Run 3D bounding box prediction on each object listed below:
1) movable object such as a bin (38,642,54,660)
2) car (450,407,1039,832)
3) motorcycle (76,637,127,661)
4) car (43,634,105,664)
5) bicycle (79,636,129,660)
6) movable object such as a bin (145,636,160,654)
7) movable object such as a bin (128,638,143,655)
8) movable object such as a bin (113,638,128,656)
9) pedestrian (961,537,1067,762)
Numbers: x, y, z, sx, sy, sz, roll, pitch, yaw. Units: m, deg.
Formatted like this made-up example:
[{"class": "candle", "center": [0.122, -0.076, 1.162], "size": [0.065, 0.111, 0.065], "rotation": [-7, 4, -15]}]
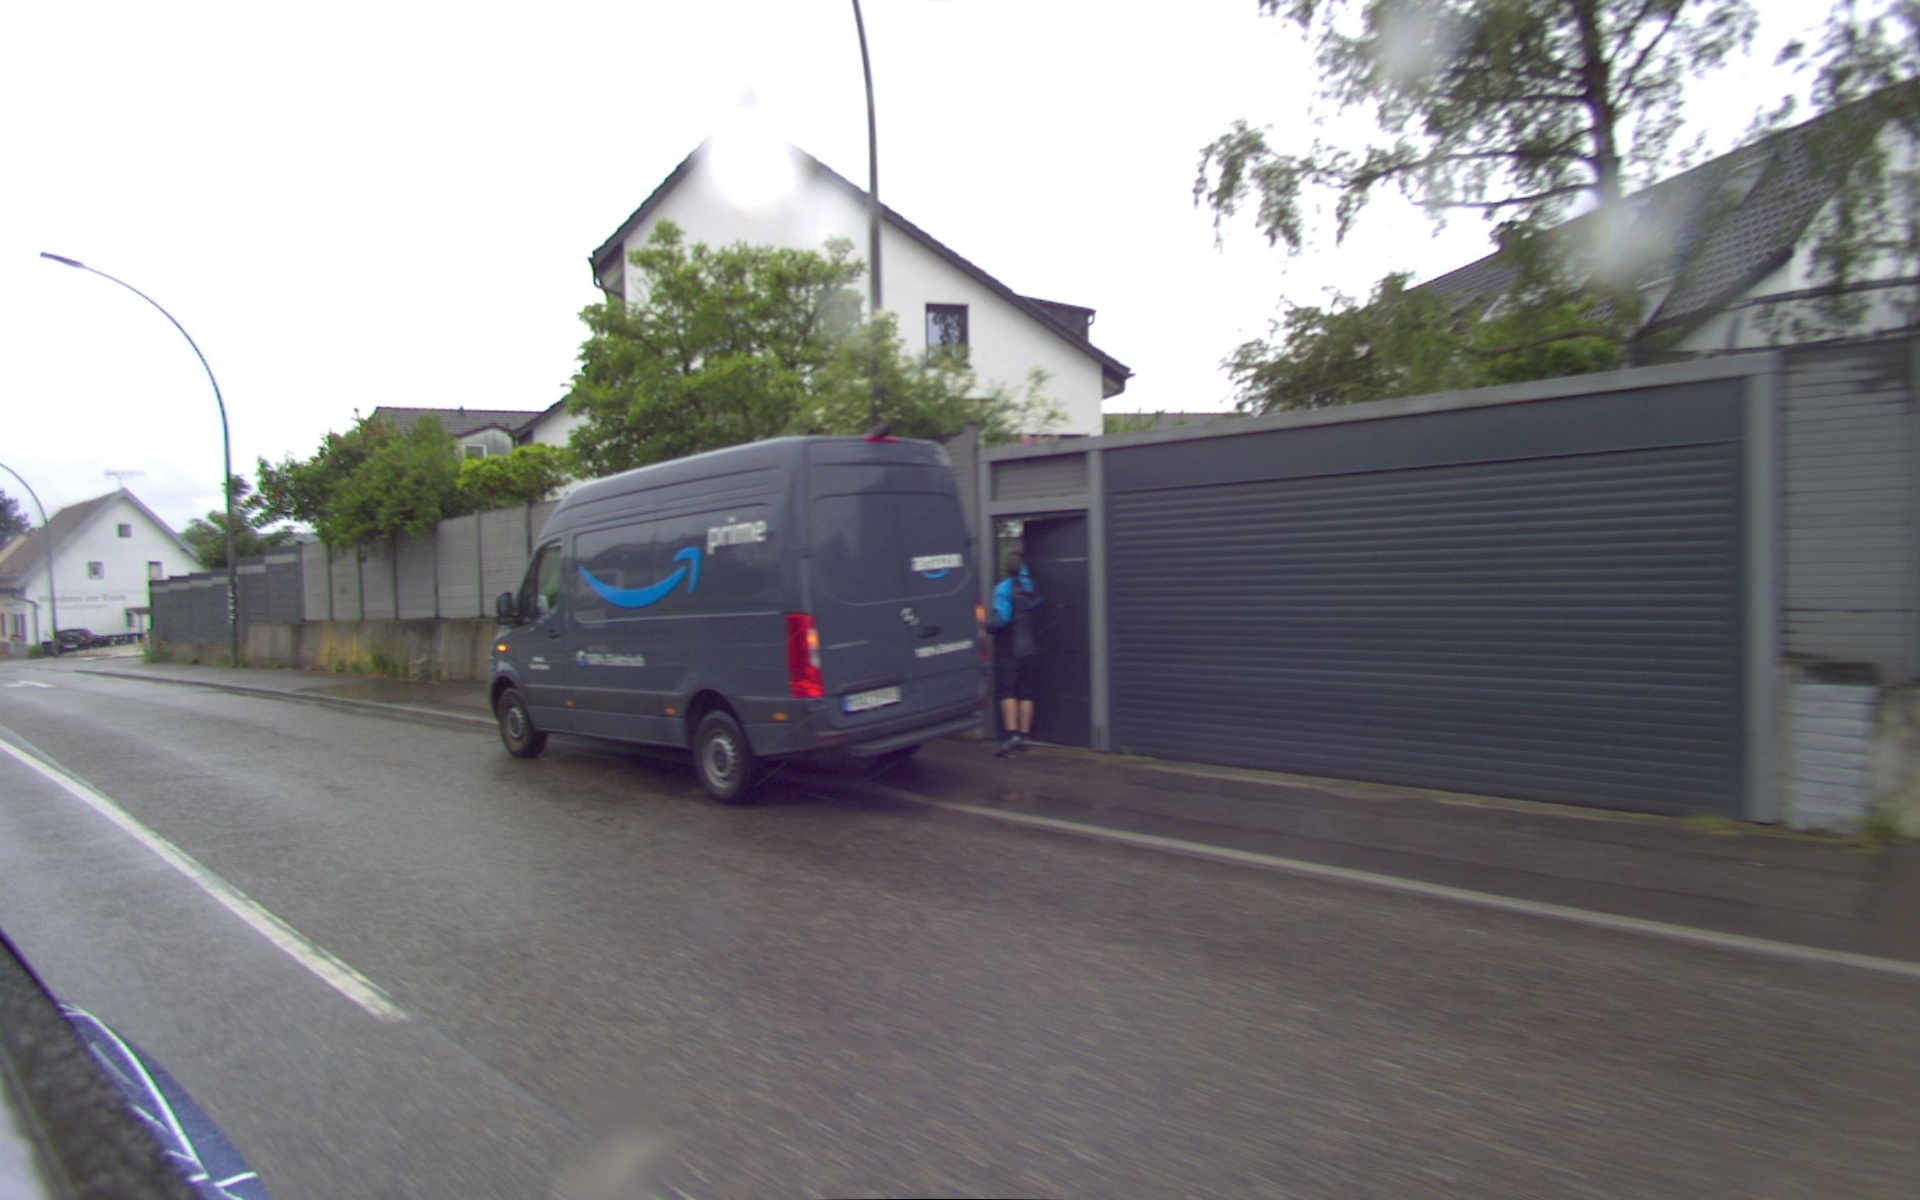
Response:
[{"class": "movable object such as a bin", "center": [-52.945, 2.961, 58.624], "size": [0.629, 1.040, 0.675], "rotation": [0, -2, -36]}, {"class": "car", "center": [-2.302, 0.131, 9.132], "size": [5.918, 2.668, 2.072], "rotation": [-2, 2, 43]}, {"class": "motorcycle", "center": [-49.212, 2.778, 58.057], "size": [2.082, 1.122, 0.782], "rotation": [-6, 3, -34]}, {"class": "car", "center": [-48.258, 2.664, 55.189], "size": [1.875, 1.453, 3.839], "rotation": [-4, 0, -32]}, {"class": "bicycle", "center": [-49.620, 2.782, 58.676], "size": [2.070, 1.122, 0.739], "rotation": [-6, 3, -34]}, {"class": "movable object such as a bin", "center": [-48.922, 2.747, 61.338], "size": [0.630, 1.040, 0.606], "rotation": [-5, 1, -38]}, {"class": "movable object such as a bin", "center": [-49.661, 2.809, 60.953], "size": [0.629, 1.040, 0.606], "rotation": [0, -2, -37]}, {"class": "movable object such as a bin", "center": [-50.223, 2.822, 60.558], "size": [0.629, 1.040, 0.606], "rotation": [0, -2, -37]}, {"class": "pedestrian", "center": [0.463, 0.413, 9.017], "size": [0.669, 1.900, 0.812], "rotation": [-1, 0, -17]}]
